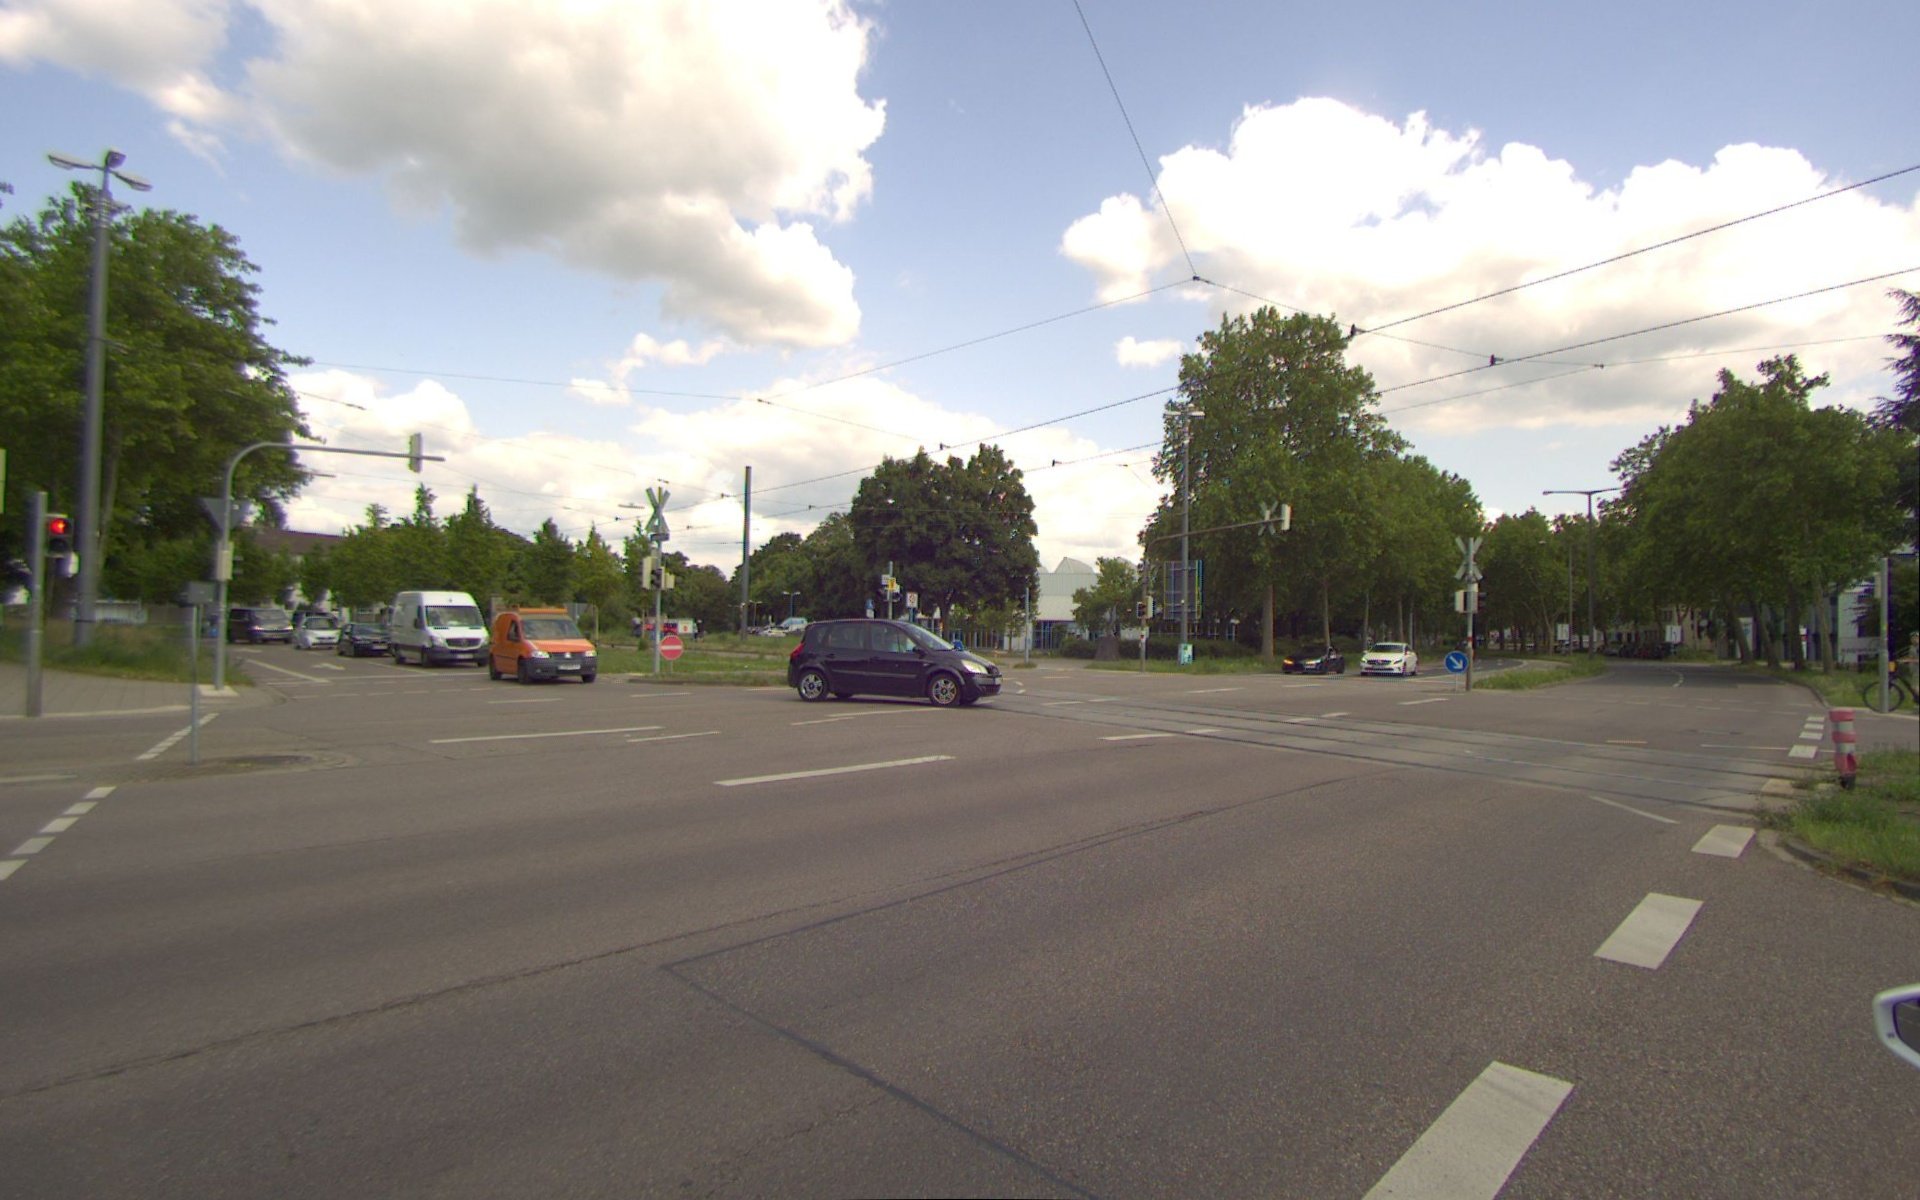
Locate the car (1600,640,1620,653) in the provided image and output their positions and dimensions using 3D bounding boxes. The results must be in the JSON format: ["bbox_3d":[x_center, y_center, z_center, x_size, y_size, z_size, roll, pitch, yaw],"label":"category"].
[{"bbox_3d":[90.364,6.492,139.745,1.963,1.595,3.994,0,0,27],"label":"car"}]

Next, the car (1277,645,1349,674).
[{"bbox_3d":[15.921,2.639,45.206,3.684,1.207,1.619,3,-2,-44],"label":"car"}]

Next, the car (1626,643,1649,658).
[{"bbox_3d":[84.310,6.264,125.079,1.963,1.595,3.994,0,0,27],"label":"car"}]

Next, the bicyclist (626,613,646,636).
[{"bbox_3d":[-21.881,1.645,67.885,0.822,1.509,0.960,0,-2,36],"label":"bicyclist"}]

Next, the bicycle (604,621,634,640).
[{"bbox_3d":[-22.397,2.013,65.996,1.954,1.169,0.947,0,-2,40],"label":"bicycle"}]

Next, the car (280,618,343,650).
[{"bbox_3d":[-31.387,1.629,48.584,1.799,1.450,4.326,3,-2,-43],"label":"car"}]

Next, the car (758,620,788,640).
[{"bbox_3d":[-16.460,2.603,88.474,1.969,1.661,4.372,2,-2,-19],"label":"car"}]

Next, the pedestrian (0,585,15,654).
[{"bbox_3d":[-23.071,0.464,23.986,0.626,1.641,0.604,1,-1,-36],"label":"pedestrian"}]

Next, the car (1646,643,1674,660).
[{"bbox_3d":[75.416,5.512,108.255,1.963,1.595,3.994,0,0,27],"label":"car"}]

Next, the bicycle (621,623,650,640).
[{"bbox_3d":[-21.932,2.123,67.915,1.953,1.053,0.948,0,-2,38],"label":"bicycle"}]

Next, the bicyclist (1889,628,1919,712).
[{"bbox_3d":[21.051,1.543,22.334,0.537,1.834,0.538,0,0,-41],"label":"bicyclist"}]

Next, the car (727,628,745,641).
[{"bbox_3d":[-30.973,4.722,138.793,1.969,1.661,4.372,2,-2,-19],"label":"car"}]

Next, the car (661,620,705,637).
[{"bbox_3d":[-26.725,2.720,96.760,3.938,1.550,1.992,2,-2,-19],"label":"car"}]

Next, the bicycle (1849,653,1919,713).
[{"bbox_3d":[21.074,1.849,22.317,0.537,1.252,1.929,0,0,-41],"label":"bicycle"}]

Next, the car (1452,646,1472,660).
[{"bbox_3d":[47.835,5.014,95.744,1.609,1.207,3.705,0,-2,25],"label":"car"}]

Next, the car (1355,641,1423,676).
[{"bbox_3d":[18.724,2.512,43.780,1.802,1.382,4.122,0,-2,37],"label":"car"}]

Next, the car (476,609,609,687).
[{"bbox_3d":[-10.737,1.165,25.673,1.869,1.823,4.318,2,-2,-41],"label":"car"}]

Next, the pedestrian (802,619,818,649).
[{"bbox_3d":[-8.456,1.907,56.740,0.627,1.666,0.612,0,0,31],"label":"pedestrian"}]

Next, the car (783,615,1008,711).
[{"bbox_3d":[-1.226,1.166,19.461,3.971,1.652,1.736,1,-2,18],"label":"car"}]

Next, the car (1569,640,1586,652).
[{"bbox_3d":[94.074,6.961,153.100,1.963,1.595,3.994,0,0,27],"label":"car"}]

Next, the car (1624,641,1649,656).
[{"bbox_3d":[78.287,5.619,116.222,1.963,1.595,3.994,0,0,27],"label":"car"}]

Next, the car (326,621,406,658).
[{"bbox_3d":[-24.666,1.606,41.658,1.800,1.450,4.409,3,-2,-45],"label":"car"}]

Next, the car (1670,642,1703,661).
[{"bbox_3d":[70.407,4.977,97.417,1.963,1.595,3.994,0,0,27],"label":"car"}]

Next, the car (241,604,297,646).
[{"bbox_3d":[-37.919,1.375,55.083,1.843,2.184,4.326,3,-2,-43],"label":"car"}]

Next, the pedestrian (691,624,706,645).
[{"bbox_3d":[-17.137,2.265,65.759,0.647,1.372,0.742,0,0,-44],"label":"pedestrian"}]

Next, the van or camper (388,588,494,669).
[{"bbox_3d":[-18.079,0.957,34.797,1.966,2.557,5.967,2,-2,-40],"label":"van or camper"}]
